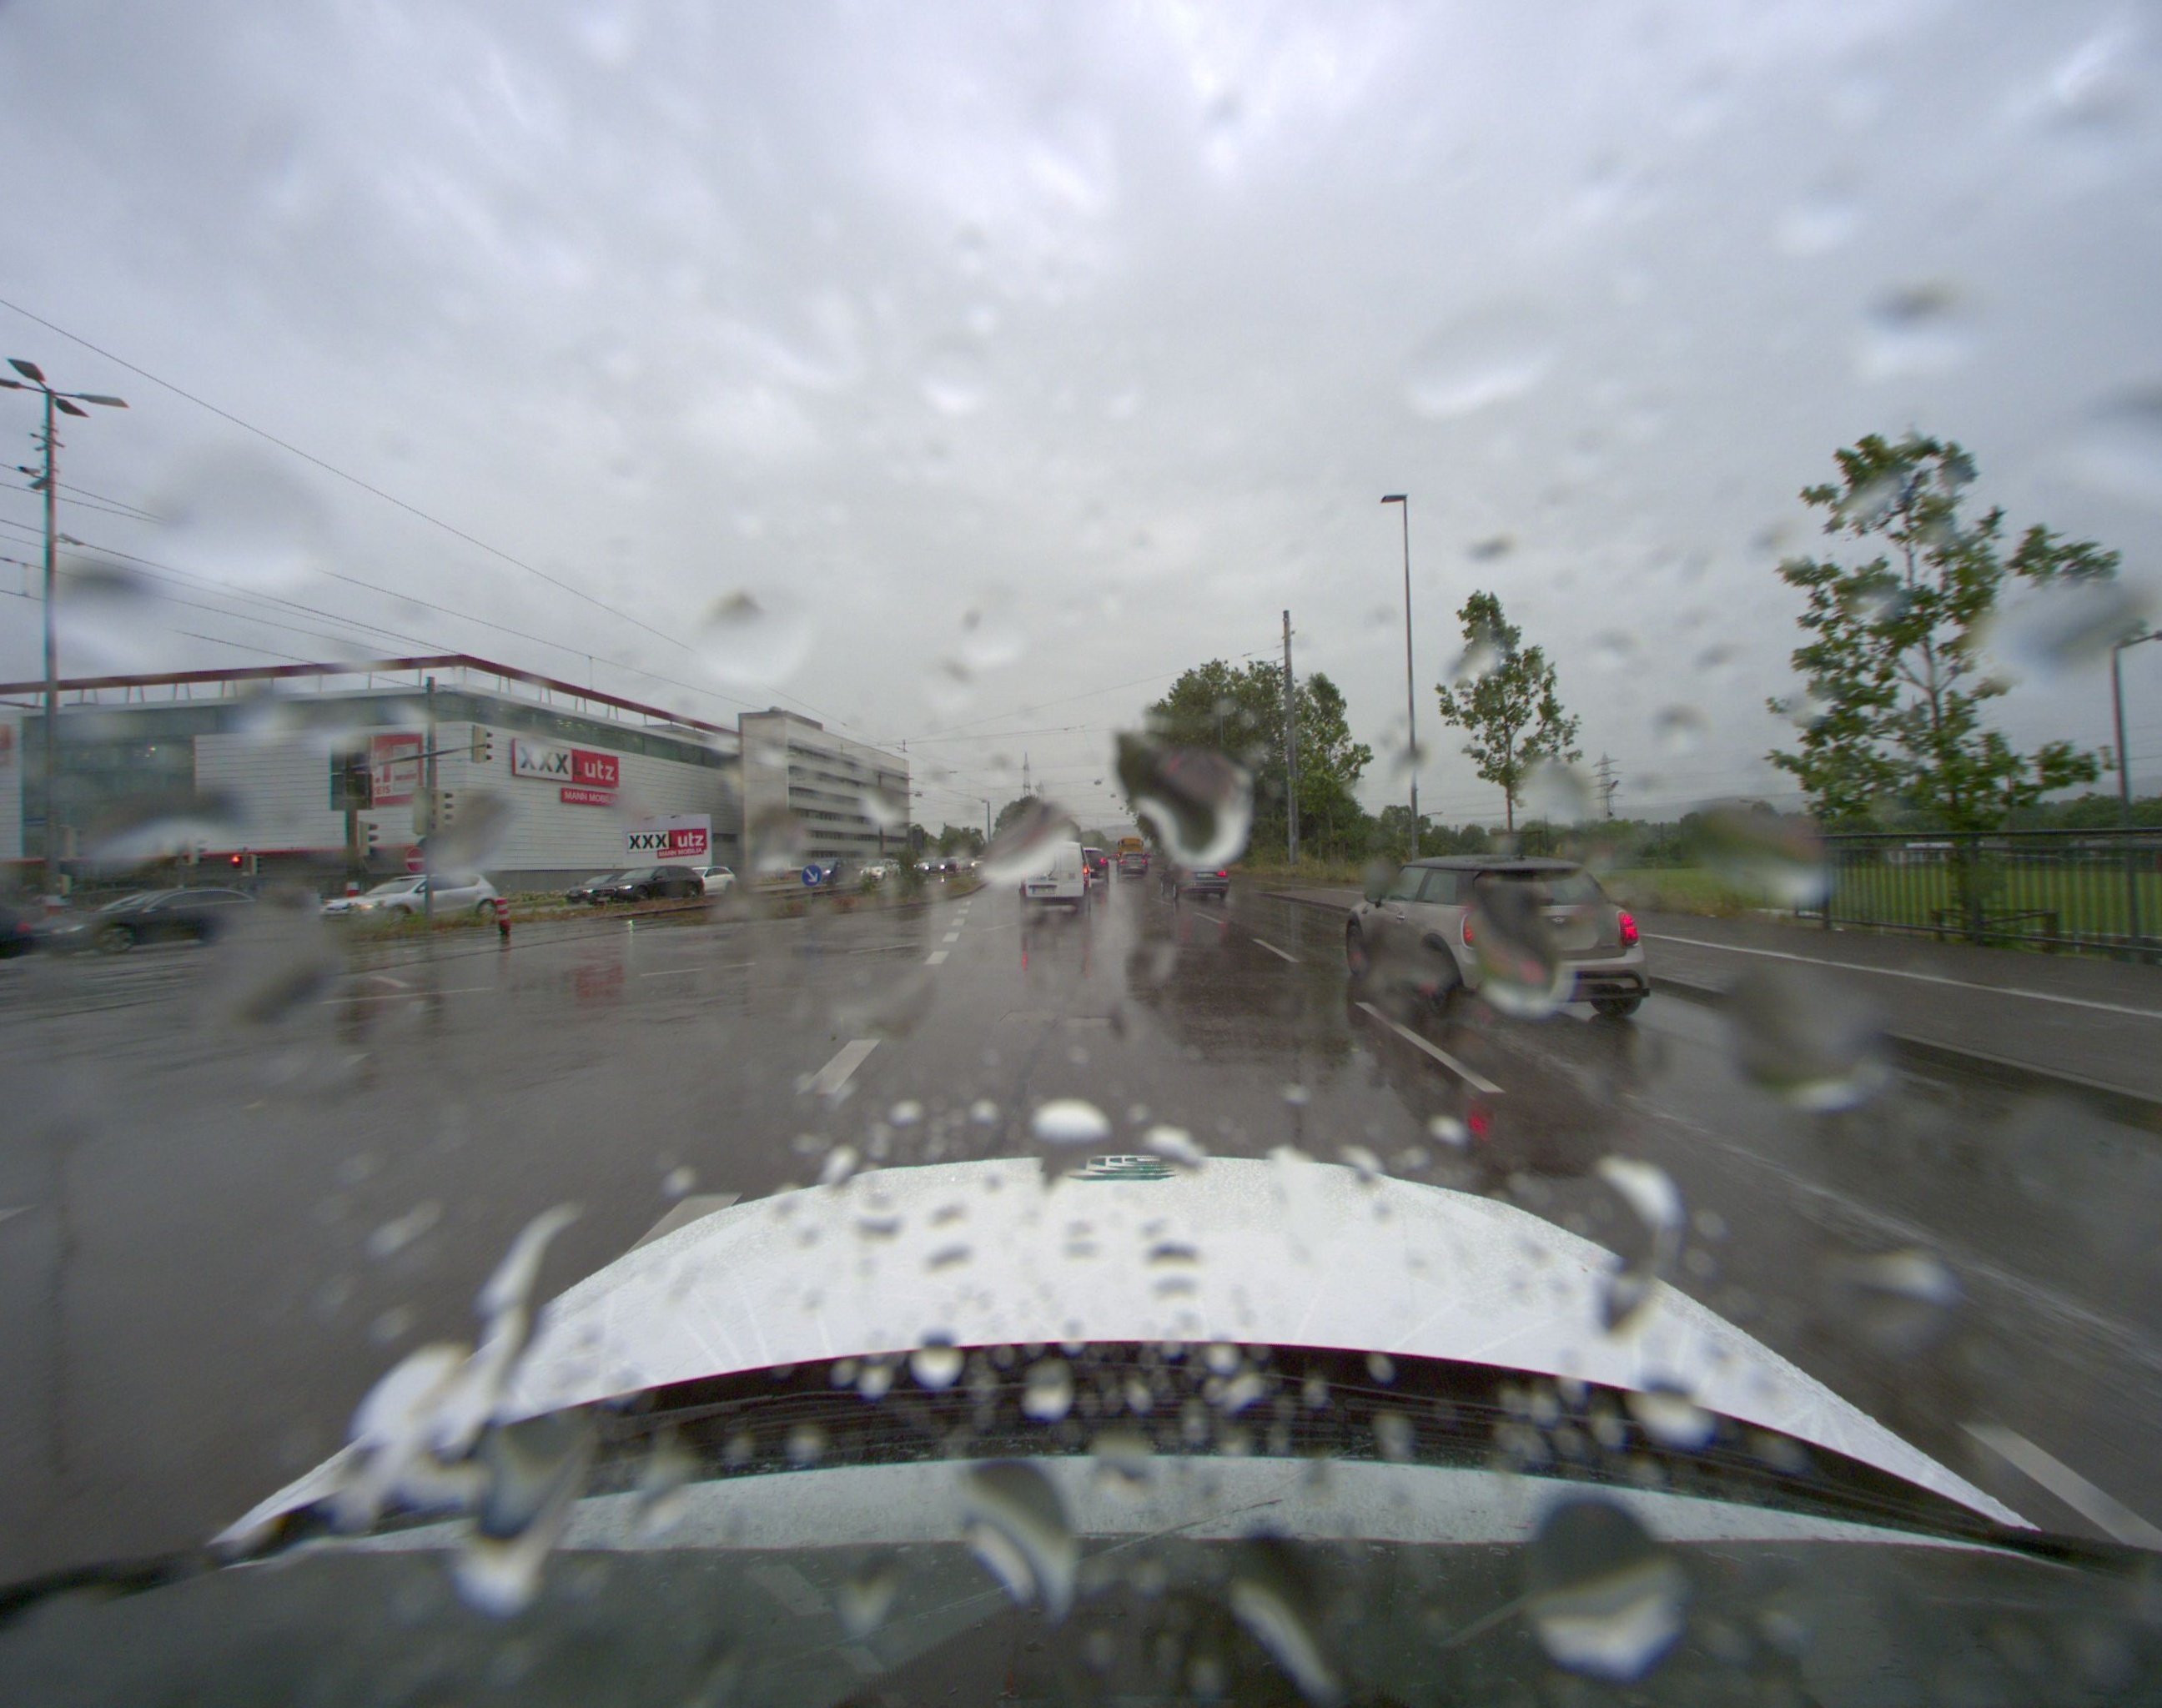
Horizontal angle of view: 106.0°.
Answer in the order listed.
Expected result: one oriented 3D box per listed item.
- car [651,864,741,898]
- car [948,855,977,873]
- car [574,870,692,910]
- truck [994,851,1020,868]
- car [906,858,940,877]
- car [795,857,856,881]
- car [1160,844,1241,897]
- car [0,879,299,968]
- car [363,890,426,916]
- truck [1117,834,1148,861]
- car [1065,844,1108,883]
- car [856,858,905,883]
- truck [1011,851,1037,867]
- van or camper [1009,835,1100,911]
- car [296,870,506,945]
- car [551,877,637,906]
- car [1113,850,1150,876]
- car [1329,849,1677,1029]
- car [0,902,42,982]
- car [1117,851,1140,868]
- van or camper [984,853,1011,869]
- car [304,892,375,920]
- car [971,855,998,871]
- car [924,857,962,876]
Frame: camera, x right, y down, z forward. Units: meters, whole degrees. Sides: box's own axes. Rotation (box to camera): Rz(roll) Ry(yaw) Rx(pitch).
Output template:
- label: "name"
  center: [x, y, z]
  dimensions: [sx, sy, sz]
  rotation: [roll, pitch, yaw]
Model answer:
- label: "car"
  center: [-19.132, 1.294, 40.733]
  dimensions: [1.802, 1.436, 4.723]
  rotation: [0, 1, 7]
- label: "car"
  center: [-13.109, 1.115, 90.550]
  dimensions: [1.983, 1.834, 4.702]
  rotation: [-2, 0, 7]
- label: "car"
  center: [-16.909, 1.301, 30.986]
  dimensions: [1.701, 1.249, 4.060]
  rotation: [0, 1, 11]
- label: "truck"
  center: [-10.563, 0.753, 116.180]
  dimensions: [2.214, 2.461, 6.082]
  rotation: [0, 0, 9]
- label: "car"
  center: [-15.089, 1.239, 77.997]
  dimensions: [1.898, 1.606, 4.849]
  rotation: [1, 1, 5]
- label: "car"
  center: [-14.848, 0.845, 47.545]
  dimensions: [1.703, 1.249, 4.470]
  rotation: [0, 1, 7]
- label: "car"
  center: [3.737, 0.463, 26.067]
  dimensions: [1.962, 1.528, 3.990]
  rotation: [-1, 1, -1]
- label: "car"
  center: [-22.359, 1.569, 19.857]
  dimensions: [1.795, 1.794, 4.512]
  rotation: [0, 0, 10]
- label: "car"
  center: [-60.099, 4.226, 71.413]
  dimensions: [1.985, 2.013, 4.003]
  rotation: [0, 0, 3]
- label: "truck"
  center: [5.649, -0.677, 88.780]
  dimensions: [3.098, 2.773, 6.339]
  rotation: [-1, 0, 5]
- label: "car"
  center: [0.277, 0.401, 38.319]
  dimensions: [1.893, 1.716, 4.726]
  rotation: [-1, 1, 1]
- label: "car"
  center: [-13.542, 1.108, 55.289]
  dimensions: [1.701, 1.535, 4.060]
  rotation: [0, 1, 11]
- label: "truck"
  center: [-8.831, 0.792, 126.429]
  dimensions: [2.421, 2.458, 7.237]
  rotation: [0, 0, 9]
- label: "van or camper"
  center: [-0.581, 0.402, 21.128]
  dimensions: [1.985, 1.784, 4.004]
  rotation: [0, 1, 3]
- label: "car"
  center: [-18.732, 1.388, 22.754]
  dimensions: [1.702, 1.708, 4.441]
  rotation: [0, 1, 9]
- label: "car"
  center: [-26.359, 2.000, 44.260]
  dimensions: [1.701, 1.249, 4.060]
  rotation: [0, 1, 11]
- label: "car"
  center: [2.903, 0.491, 47.418]
  dimensions: [1.813, 1.414, 3.776]
  rotation: [-1, 1, -1]
- label: "car"
  center: [4.003, 0.679, 8.523]
  dimensions: [1.784, 1.414, 3.857]
  rotation: [-1, 1, 2]
- label: "car"
  center: [-20.180, 1.623, 12.960]
  dimensions: [1.572, 1.366, 4.214]
  rotation: [0, 1, 11]
- label: "car"
  center: [4.227, 0.448, 72.339]
  dimensions: [1.809, 1.414, 3.785]
  rotation: [-1, 1, 6]
- label: "van or camper"
  center: [-10.986, 0.857, 107.430]
  dimensions: [2.292, 2.013, 5.698]
  rotation: [0, 0, 8]
- label: "car"
  center: [-60.376, 4.215, 66.388]
  dimensions: [1.985, 2.013, 4.003]
  rotation: [0, 0, 3]
- label: "car"
  center: [-10.203, 0.892, 86.370]
  dimensions: [1.863, 1.573, 4.337]
  rotation: [0, 1, 7]
- label: "car"
  center: [-12.034, 1.080, 71.469]
  dimensions: [1.912, 1.423, 5.094]
  rotation: [0, 1, 7]
